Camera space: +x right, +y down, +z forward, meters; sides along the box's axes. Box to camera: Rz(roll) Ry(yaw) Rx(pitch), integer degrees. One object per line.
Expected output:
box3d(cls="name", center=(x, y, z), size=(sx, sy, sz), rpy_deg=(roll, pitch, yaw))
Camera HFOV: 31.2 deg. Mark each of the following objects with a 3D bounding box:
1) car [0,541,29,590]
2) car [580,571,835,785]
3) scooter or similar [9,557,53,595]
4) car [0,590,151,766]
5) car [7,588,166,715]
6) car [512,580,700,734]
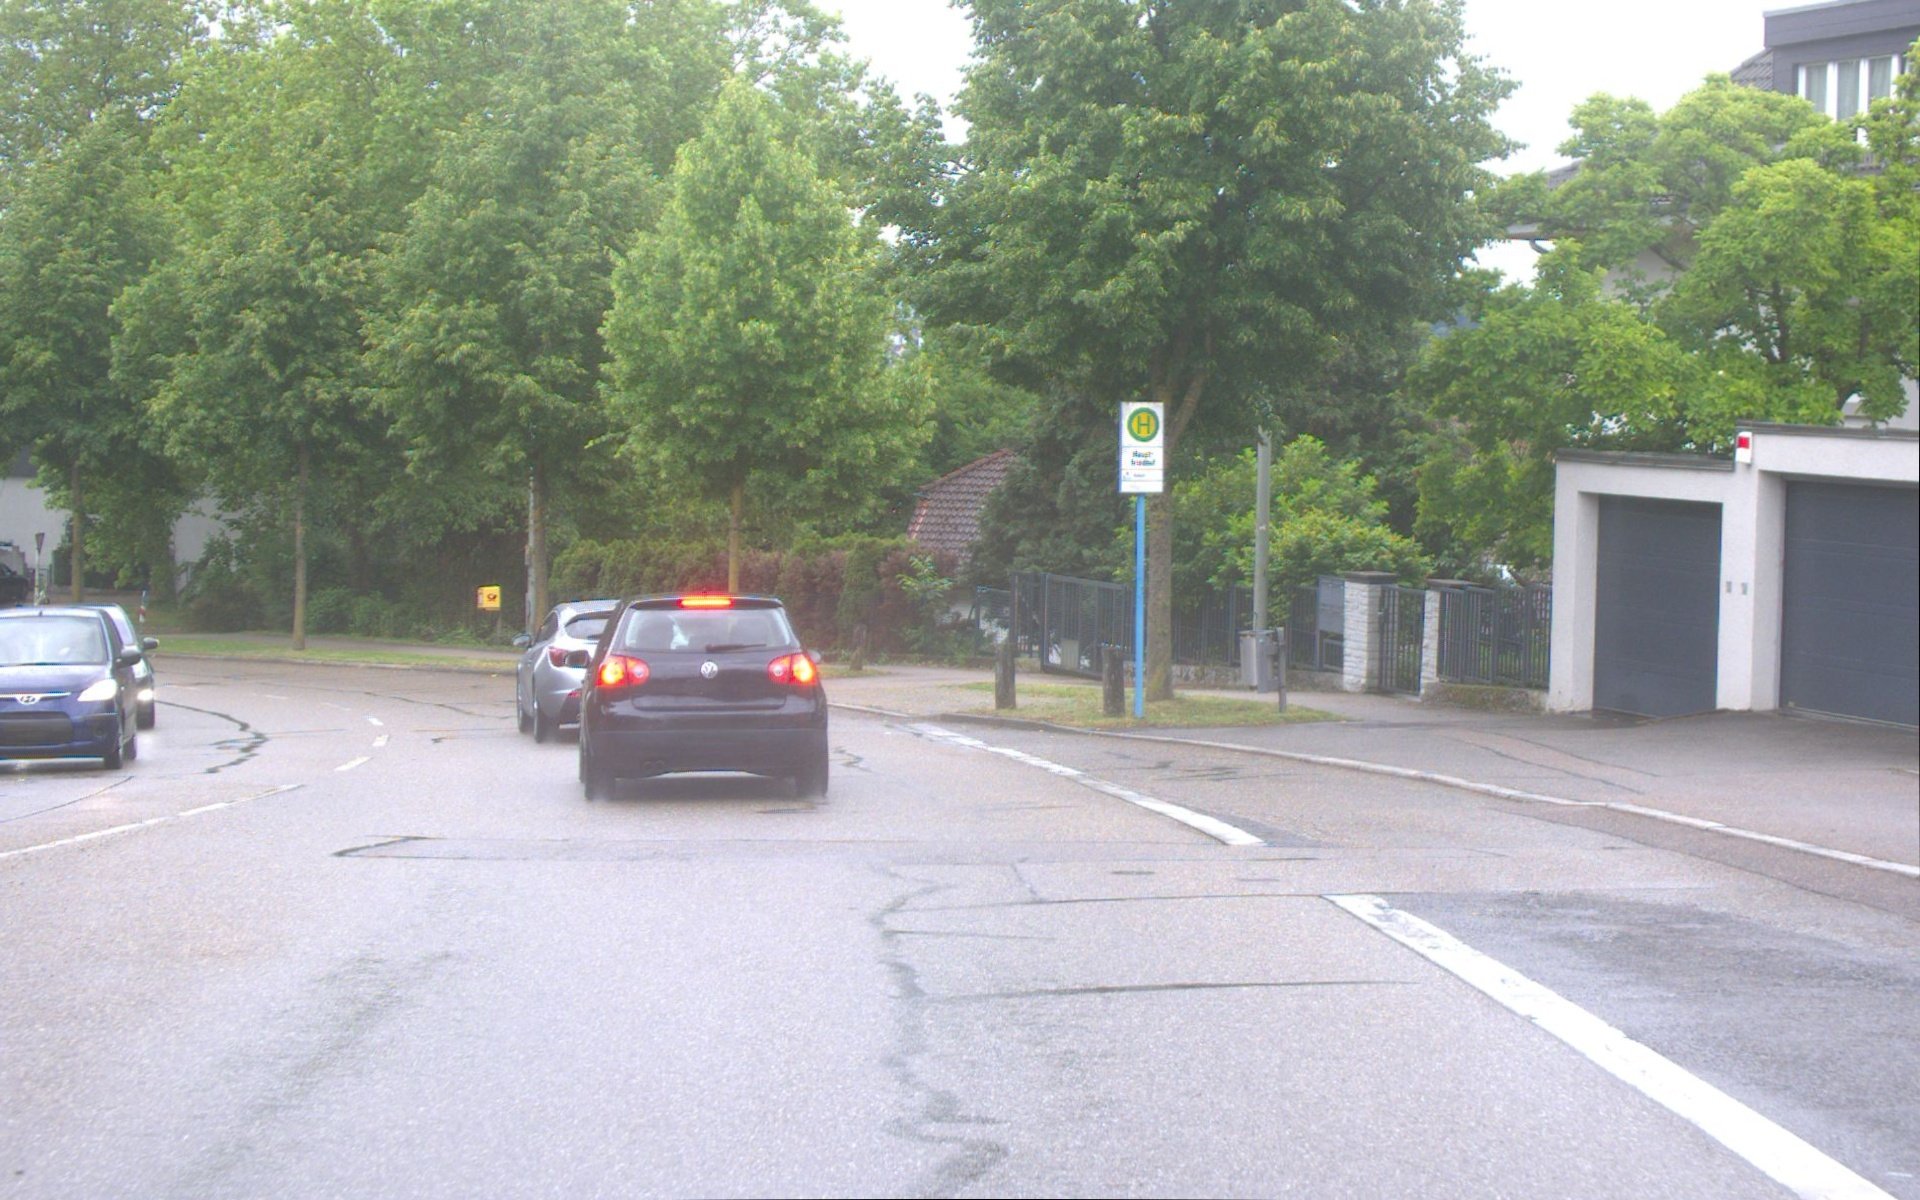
box3d(cls="car", center=(-33.891, -1.161, 119.195), size=(1.751, 1.464, 4.566), rpy_deg=(3, 4, 3))
box3d(cls="car", center=(-1.954, 0.530, 25.657), size=(1.721, 1.459, 4.001), rpy_deg=(0, 0, -7))
box3d(cls="scooter or similar", center=(-31.828, -0.827, 117.812), size=(1.336, 1.281, 0.561), rpy_deg=(-2, 2, -40))
box3d(cls="car", center=(-8.685, 0.690, 32.845), size=(1.721, 1.459, 4.378), rpy_deg=(-1, 2, -12))
box3d(cls="car", center=(-11.456, 0.638, 45.314), size=(1.810, 1.571, 4.687), rpy_deg=(0, 0, -11))
box3d(cls="car", center=(-3.860, 0.569, 37.004), size=(1.754, 1.459, 4.001), rpy_deg=(-1, 2, -10))
